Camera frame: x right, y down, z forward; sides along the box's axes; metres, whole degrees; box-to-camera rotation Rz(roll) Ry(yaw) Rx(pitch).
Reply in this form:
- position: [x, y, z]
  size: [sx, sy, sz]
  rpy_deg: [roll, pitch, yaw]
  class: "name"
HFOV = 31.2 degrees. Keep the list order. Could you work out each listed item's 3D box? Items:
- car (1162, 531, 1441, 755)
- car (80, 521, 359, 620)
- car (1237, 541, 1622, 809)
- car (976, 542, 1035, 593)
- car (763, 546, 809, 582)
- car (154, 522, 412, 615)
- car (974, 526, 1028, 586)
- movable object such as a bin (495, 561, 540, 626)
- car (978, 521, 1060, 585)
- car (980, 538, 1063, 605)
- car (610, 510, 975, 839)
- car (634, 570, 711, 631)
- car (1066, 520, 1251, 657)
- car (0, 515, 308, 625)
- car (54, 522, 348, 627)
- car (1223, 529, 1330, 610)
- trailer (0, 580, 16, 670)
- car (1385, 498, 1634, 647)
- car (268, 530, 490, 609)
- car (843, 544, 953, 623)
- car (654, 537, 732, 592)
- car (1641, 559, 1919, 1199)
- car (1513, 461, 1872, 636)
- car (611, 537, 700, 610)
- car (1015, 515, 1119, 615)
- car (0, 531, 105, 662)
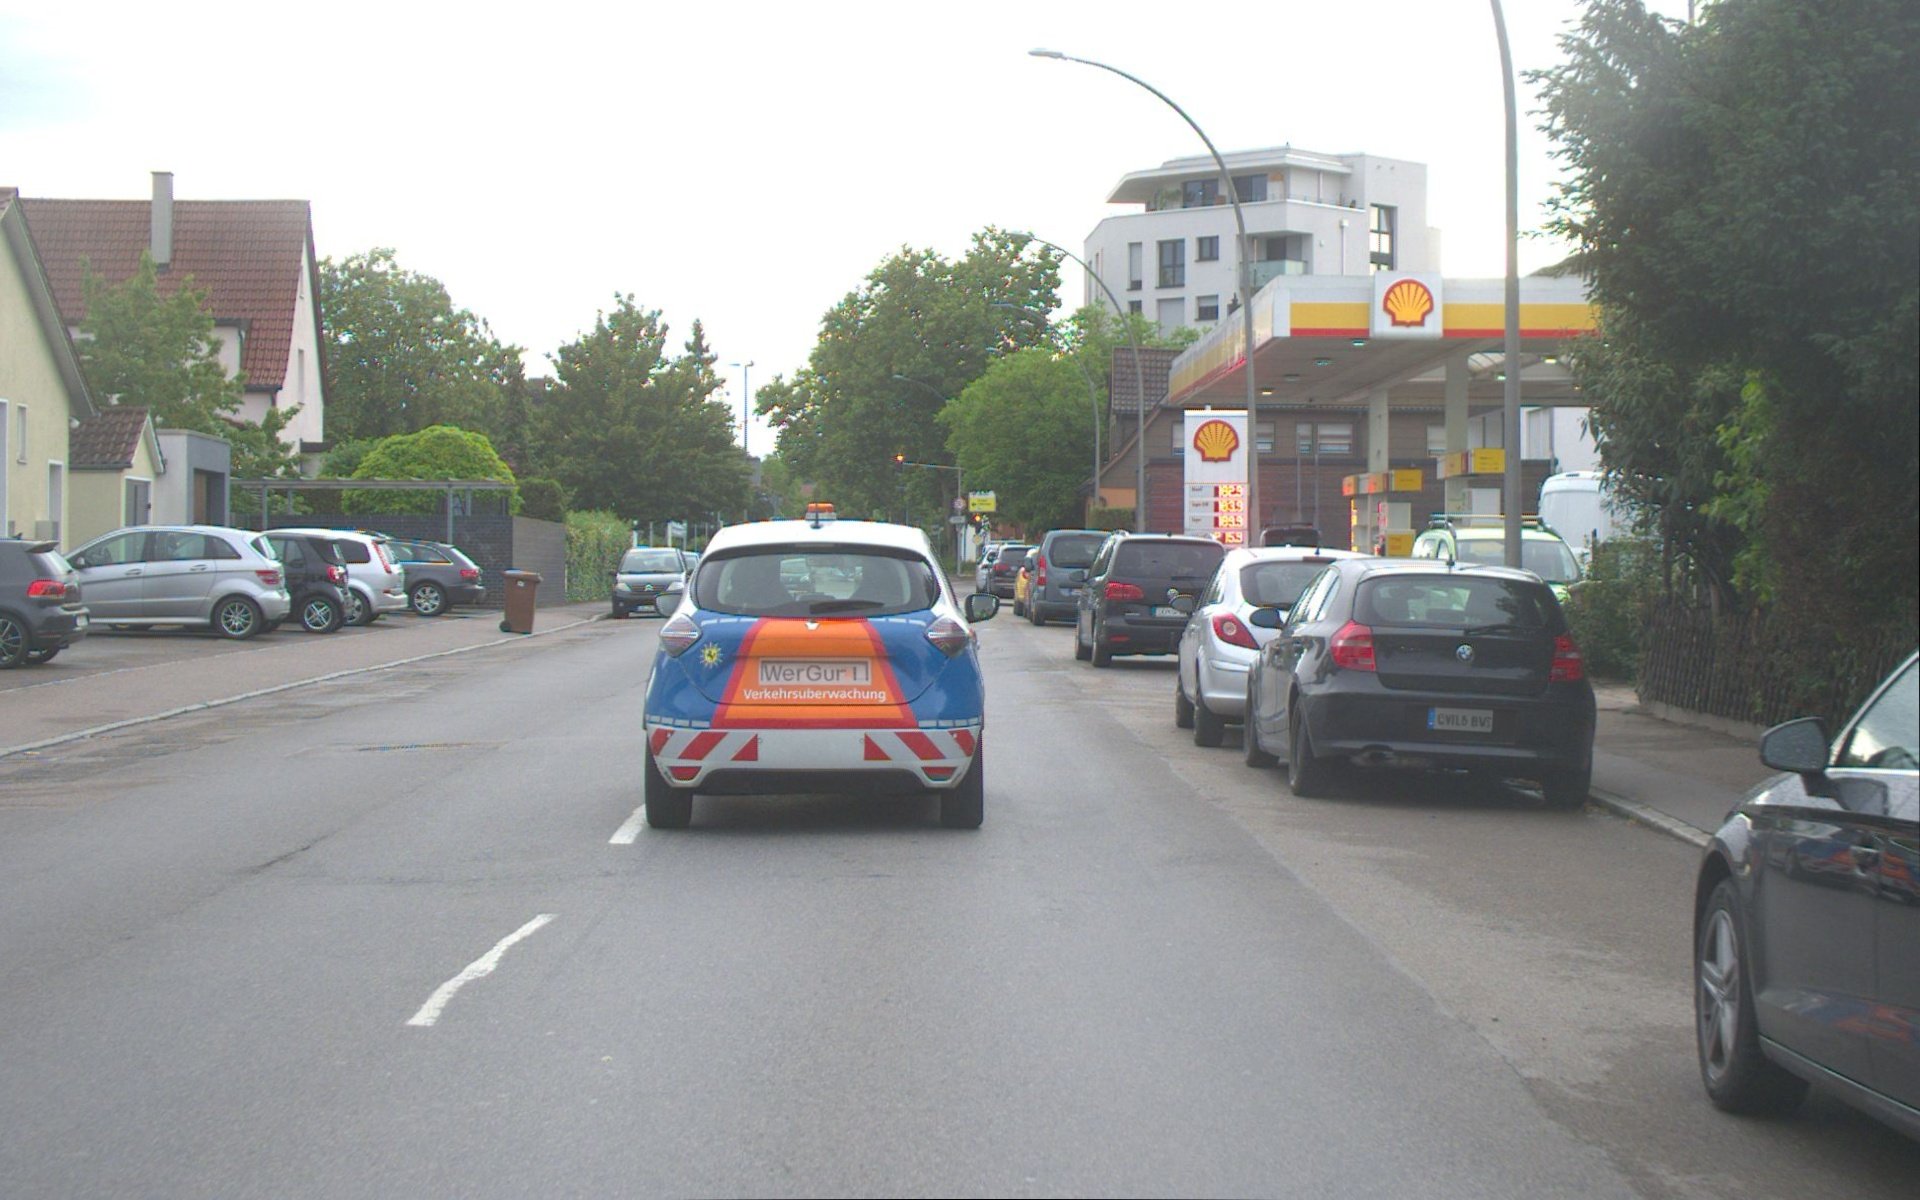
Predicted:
- position: [2.507, 0.264, 26.057]
  size: [1.737, 1.497, 3.881]
  rpy_deg: [2, 1, 1]
  class: "car"
- position: [-11.494, -0.461, 53.588]
  size: [4.083, 1.498, 1.757]
  rpy_deg: [0, 1, -6]
  class: "car"
- position: [2.752, 0.385, 20.901]
  size: [1.737, 1.398, 3.719]
  rpy_deg: [2, 1, -1]
  class: "car"
- position: [1.538, -1.119, 117.198]
  size: [1.865, 1.659, 4.320]
  rpy_deg: [1, 1, -1]
  class: "car"
- position: [-7.040, -1.455, 139.325]
  size: [1.626, 1.428, 3.683]
  rpy_deg: [0, 1, 1]
  class: "car"
- position: [-11.292, -0.537, 57.531]
  size: [4.083, 1.508, 1.884]
  rpy_deg: [0, 1, -6]
  class: "car"
- position: [1.500, -1.588, 123.288]
  size: [1.778, 2.022, 4.754]
  rpy_deg: [2, 2, 2]
  class: "car"
- position: [-7.661, -0.119, 59.547]
  size: [0.595, 1.053, 0.687]
  rpy_deg: [5, 2, -1]
  class: "movable object such as a bin"
- position: [1.610, -1.327, 95.760]
  size: [2.091, 1.656, 4.559]
  rpy_deg: [2, 2, -1]
  class: "car"
- position: [1.307, -0.634, 74.236]
  size: [1.656, 1.397, 3.802]
  rpy_deg: [1, 1, -1]
  class: "car"
- position: [-0.827, 0.311, 18.497]
  size: [1.746, 1.575, 4.000]
  rpy_deg: [0, 1, -1]
  class: "car"
- position: [-6.886, -0.006, 82.627]
  size: [1.545, 1.398, 3.597]
  rpy_deg: [-1, 1, 0]
  class: "car"
- position: [2.388, -0.180, 42.236]
  size: [1.993, 1.590, 4.000]
  rpy_deg: [0, 1, -1]
  class: "car"
- position: [-11.518, -0.443, 49.332]
  size: [4.083, 1.527, 2.000]
  rpy_deg: [0, 1, -6]
  class: "car"
- position: [-11.358, -0.397, 51.645]
  size: [4.083, 1.527, 1.814]
  rpy_deg: [0, 1, -4]
  class: "car"
- position: [7.024, -0.691, 76.624]
  size: [1.819, 1.753, 4.001]
  rpy_deg: [0, 1, -3]
  class: "car"
- position: [-12.241, 0.268, 36.105]
  size: [4.196, 0.939, 1.795]
  rpy_deg: [0, 1, -3]
  class: "trailer"
- position: [6.445, -0.350, 40.767]
  size: [1.993, 1.677, 4.001]
  rpy_deg: [0, 1, -5]
  class: "car"
- position: [-11.062, -0.589, 65.655]
  size: [4.083, 1.409, 1.714]
  rpy_deg: [1, 1, -7]
  class: "car"
- position: [-1.324, -0.382, 75.220]
  size: [1.994, 1.568, 4.000]
  rpy_deg: [2, 2, 4]
  class: "car"
- position: [-7.169, -0.965, 92.571]
  size: [1.807, 1.398, 3.945]
  rpy_deg: [-1, 1, 0]
  class: "car"
- position: [2.781, 0.641, 7.444]
  size: [1.751, 1.413, 4.110]
  rpy_deg: [0, 1, -1]
  class: "car"
- position: [10.936, -0.770, 51.384]
  size: [4.787, 2.512, 2.248]
  rpy_deg: [0, 1, -22]
  class: "car"
- position: [-6.555, -0.585, 74.338]
  size: [1.608, 1.501, 3.707]
  rpy_deg: [-1, 1, 0]
  class: "car"
- position: [1.965, -0.665, 64.145]
  size: [1.656, 1.732, 4.445]
  rpy_deg: [3, 1, -1]
  class: "car"
- position: [-11.774, -0.055, 38.703]
  size: [3.873, 1.433, 1.768]
  rpy_deg: [0, 1, -1]
  class: "car"
